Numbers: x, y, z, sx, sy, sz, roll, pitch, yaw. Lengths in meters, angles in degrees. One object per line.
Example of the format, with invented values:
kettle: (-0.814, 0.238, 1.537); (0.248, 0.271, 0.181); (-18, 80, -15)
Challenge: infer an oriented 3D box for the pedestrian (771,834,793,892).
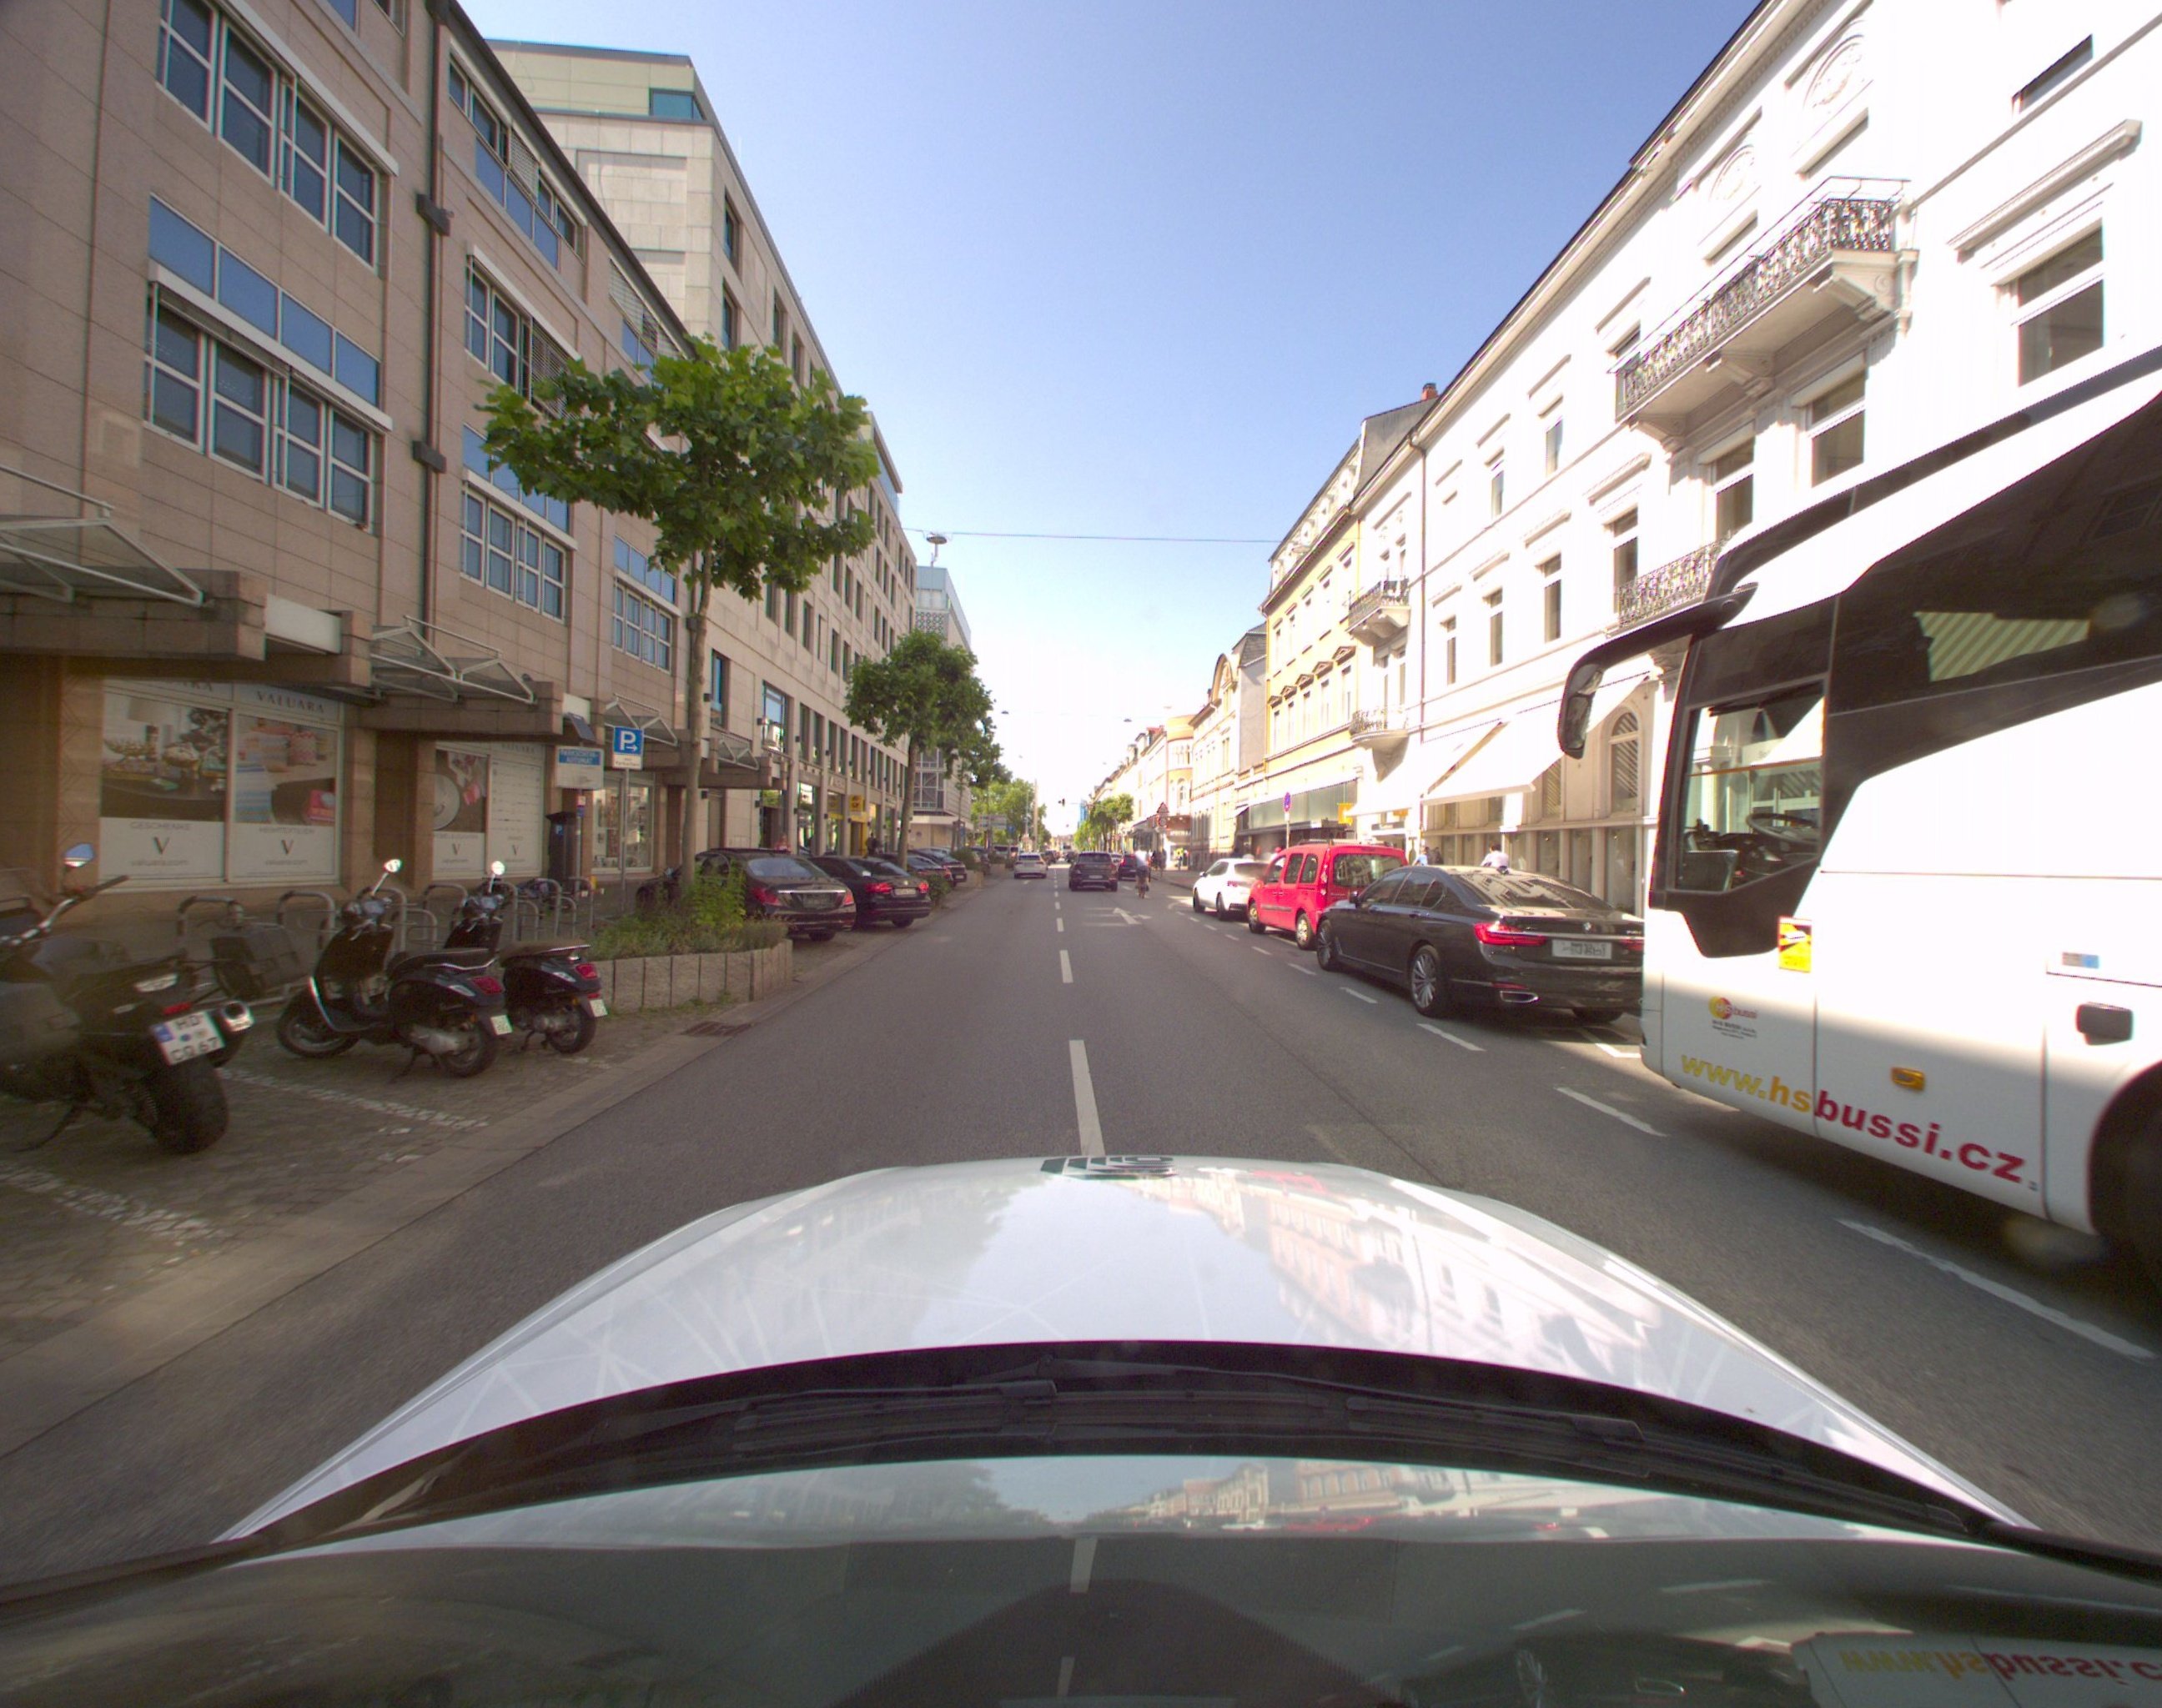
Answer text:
pedestrian: (-8.639, 0.247, 23.538); (0.568, 1.657, 0.632); (1, 0, -23)

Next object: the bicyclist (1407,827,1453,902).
bicyclist: (8.163, 0.238, 19.074); (0.645, 1.684, 1.012); (0, 0, -1)

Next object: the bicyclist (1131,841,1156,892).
bicyclist: (2.120, 0.411, 27.836); (0.692, 1.673, 0.915); (3, 1, -1)

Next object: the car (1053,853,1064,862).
car: (-4.361, 0.629, 157.964); (1.859, 1.441, 3.995); (-4, -2, -3)

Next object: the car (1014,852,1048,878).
car: (-2.843, 0.586, 46.319); (1.859, 1.441, 3.995); (0, 0, -3)

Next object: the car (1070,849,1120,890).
car: (0.494, 0.580, 32.387); (1.828, 1.527, 3.997); (0, 0, -2)

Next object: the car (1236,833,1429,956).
car: (4.392, 0.626, 15.032); (1.824, 1.863, 4.346); (2, 0, -6)

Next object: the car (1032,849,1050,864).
car: (-3.889, 0.244, 79.724); (1.739, 1.441, 3.996); (1, 0, -2)

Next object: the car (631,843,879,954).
car: (-5.804, 0.649, 14.192); (4.697, 1.533, 2.003); (2, 0, 40)

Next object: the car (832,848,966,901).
car: (-6.038, 0.623, 26.776); (4.593, 1.408, 1.918); (3, 1, 41)

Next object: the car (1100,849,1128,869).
car: (2.430, 0.353, 60.528); (1.817, 1.385, 3.999); (1, 1, -1)

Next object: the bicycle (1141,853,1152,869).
bicycle: (5.112, 0.548, 63.910); (0.553, 1.120, 2.242); (3, 1, -2)

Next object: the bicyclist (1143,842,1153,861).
bicyclist: (5.905, -0.216, 71.883); (0.692, 1.673, 0.835); (3, 2, -2)

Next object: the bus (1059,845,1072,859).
bus: (-4.153, -0.601, 217.876); (2.765, 3.605, 8.958); (1, 0, -5)

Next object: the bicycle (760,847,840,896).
bicycle: (-8.085, 0.510, 23.483); (2.065, 1.288, 0.366); (3, -1, -10)

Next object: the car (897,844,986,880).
car: (-7.060, 0.401, 41.329); (3.958, 1.490, 1.790); (5, 0, 15)

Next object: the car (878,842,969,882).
car: (-7.376, 0.376, 38.450); (3.982, 1.500, 1.714); (5, 0, -6)

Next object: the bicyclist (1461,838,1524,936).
bicyclist: (7.623, 0.591, 15.123); (0.645, 1.769, 1.012); (0, 0, -1)

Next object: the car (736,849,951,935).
car: (-5.096, 0.707, 17.162); (4.736, 1.422, 1.895); (3, 1, 38)

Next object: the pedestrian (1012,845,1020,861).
pedestrian: (-6.765, -0.111, 85.219); (0.616, 1.615, 0.545); (2, -2, -32)

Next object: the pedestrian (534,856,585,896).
pedestrian: (-11.686, 0.483, 18.264); (0.564, 0.809, 0.773); (6, 0, -2)

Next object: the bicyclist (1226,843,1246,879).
bicyclist: (7.088, 0.321, 37.306); (0.707, 1.595, 0.963); (0, 0, 0)

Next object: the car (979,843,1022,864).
car: (-9.072, -0.023, 91.973); (4.664, 2.003, 1.953); (4, -1, 38)

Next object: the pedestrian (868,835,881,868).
pedestrian: (-12.917, -0.145, 50.977); (0.622, 2.013, 0.700); (0, 0, -1)

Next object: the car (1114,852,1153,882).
car: (2.857, 0.690, 44.885); (1.817, 1.409, 3.185); (3, 1, -1)

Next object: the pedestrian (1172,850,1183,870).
pedestrian: (8.464, 0.521, 71.272); (0.790, 1.720, 0.728); (0, 0, -7)

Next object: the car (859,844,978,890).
car: (-6.410, 0.500, 32.012); (4.301, 1.513, 1.844); (3, 0, 28)

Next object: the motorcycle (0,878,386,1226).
motorcycle: (-5.150, 0.818, 4.219); (2.326, 1.268, 1.300); (2, 0, 18)

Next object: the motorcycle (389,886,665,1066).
motorcycle: (-4.346, 0.883, 6.404); (1.895, 1.170, 0.764); (2, 0, 18)

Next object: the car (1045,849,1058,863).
car: (-4.448, 0.317, 121.763); (1.858, 2.030, 3.995); (1, -1, -3)

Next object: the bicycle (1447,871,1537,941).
bicycle: (7.535, 0.923, 15.031); (0.553, 1.120, 2.071); (-1, 1, -2)

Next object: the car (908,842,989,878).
car: (-7.296, 0.338, 44.848); (3.953, 1.568, 1.709); (6, 0, 23)

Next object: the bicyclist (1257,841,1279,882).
bicyclist: (7.455, 0.292, 32.436); (0.656, 1.595, 0.920); (0, 0, 0)

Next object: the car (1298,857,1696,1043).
car: (4.214, 0.823, 9.484); (1.854, 1.470, 5.223); (2, 0, -1)

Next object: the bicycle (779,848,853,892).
bicycle: (-8.094, 0.487, 24.933); (2.070, 1.219, 0.755); (4, -1, -18)

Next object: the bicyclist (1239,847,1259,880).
bicyclist: (6.511, 0.372, 31.582); (0.621, 1.248, 0.607); (0, 0, 0)

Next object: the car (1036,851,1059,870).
car: (-2.669, 0.459, 64.295); (1.739, 1.441, 3.996); (1, 0, -2)

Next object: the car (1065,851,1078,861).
car: (-1.427, 0.224, 120.292); (1.858, 1.441, 3.996); (1, 0, -3)

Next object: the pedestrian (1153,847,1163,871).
pedestrian: (6.177, 0.396, 65.770); (0.706, 1.899, 1.153); (1, 0, 1)

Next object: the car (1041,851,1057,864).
car: (-3.717, 0.408, 94.782); (1.739, 1.441, 3.996); (1, 0, -2)

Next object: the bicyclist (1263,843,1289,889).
bicyclist: (6.464, 0.390, 27.017); (0.623, 1.476, 0.889); (0, 0, 0)

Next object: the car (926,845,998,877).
car: (-7.053, 0.404, 48.129); (3.950, 1.459, 1.680); (6, 0, 35)

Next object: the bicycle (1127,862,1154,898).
bicycle: (2.013, 0.865, 27.982); (0.663, 1.120, 2.242); (3, 1, -2)

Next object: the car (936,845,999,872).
car: (-7.669, 0.288, 55.155); (3.979, 1.500, 1.715); (5, 0, -4)

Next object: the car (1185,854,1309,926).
car: (4.000, 0.803, 20.473); (1.810, 1.466, 4.573); (2, 1, -5)

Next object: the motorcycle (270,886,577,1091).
motorcycle: (-4.583, 0.862, 5.688); (1.895, 1.170, 0.732); (2, 0, 18)

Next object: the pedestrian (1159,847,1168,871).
pedestrian: (6.436, 0.392, 63.522); (0.649, 1.809, 0.729); (1, 0, 1)
